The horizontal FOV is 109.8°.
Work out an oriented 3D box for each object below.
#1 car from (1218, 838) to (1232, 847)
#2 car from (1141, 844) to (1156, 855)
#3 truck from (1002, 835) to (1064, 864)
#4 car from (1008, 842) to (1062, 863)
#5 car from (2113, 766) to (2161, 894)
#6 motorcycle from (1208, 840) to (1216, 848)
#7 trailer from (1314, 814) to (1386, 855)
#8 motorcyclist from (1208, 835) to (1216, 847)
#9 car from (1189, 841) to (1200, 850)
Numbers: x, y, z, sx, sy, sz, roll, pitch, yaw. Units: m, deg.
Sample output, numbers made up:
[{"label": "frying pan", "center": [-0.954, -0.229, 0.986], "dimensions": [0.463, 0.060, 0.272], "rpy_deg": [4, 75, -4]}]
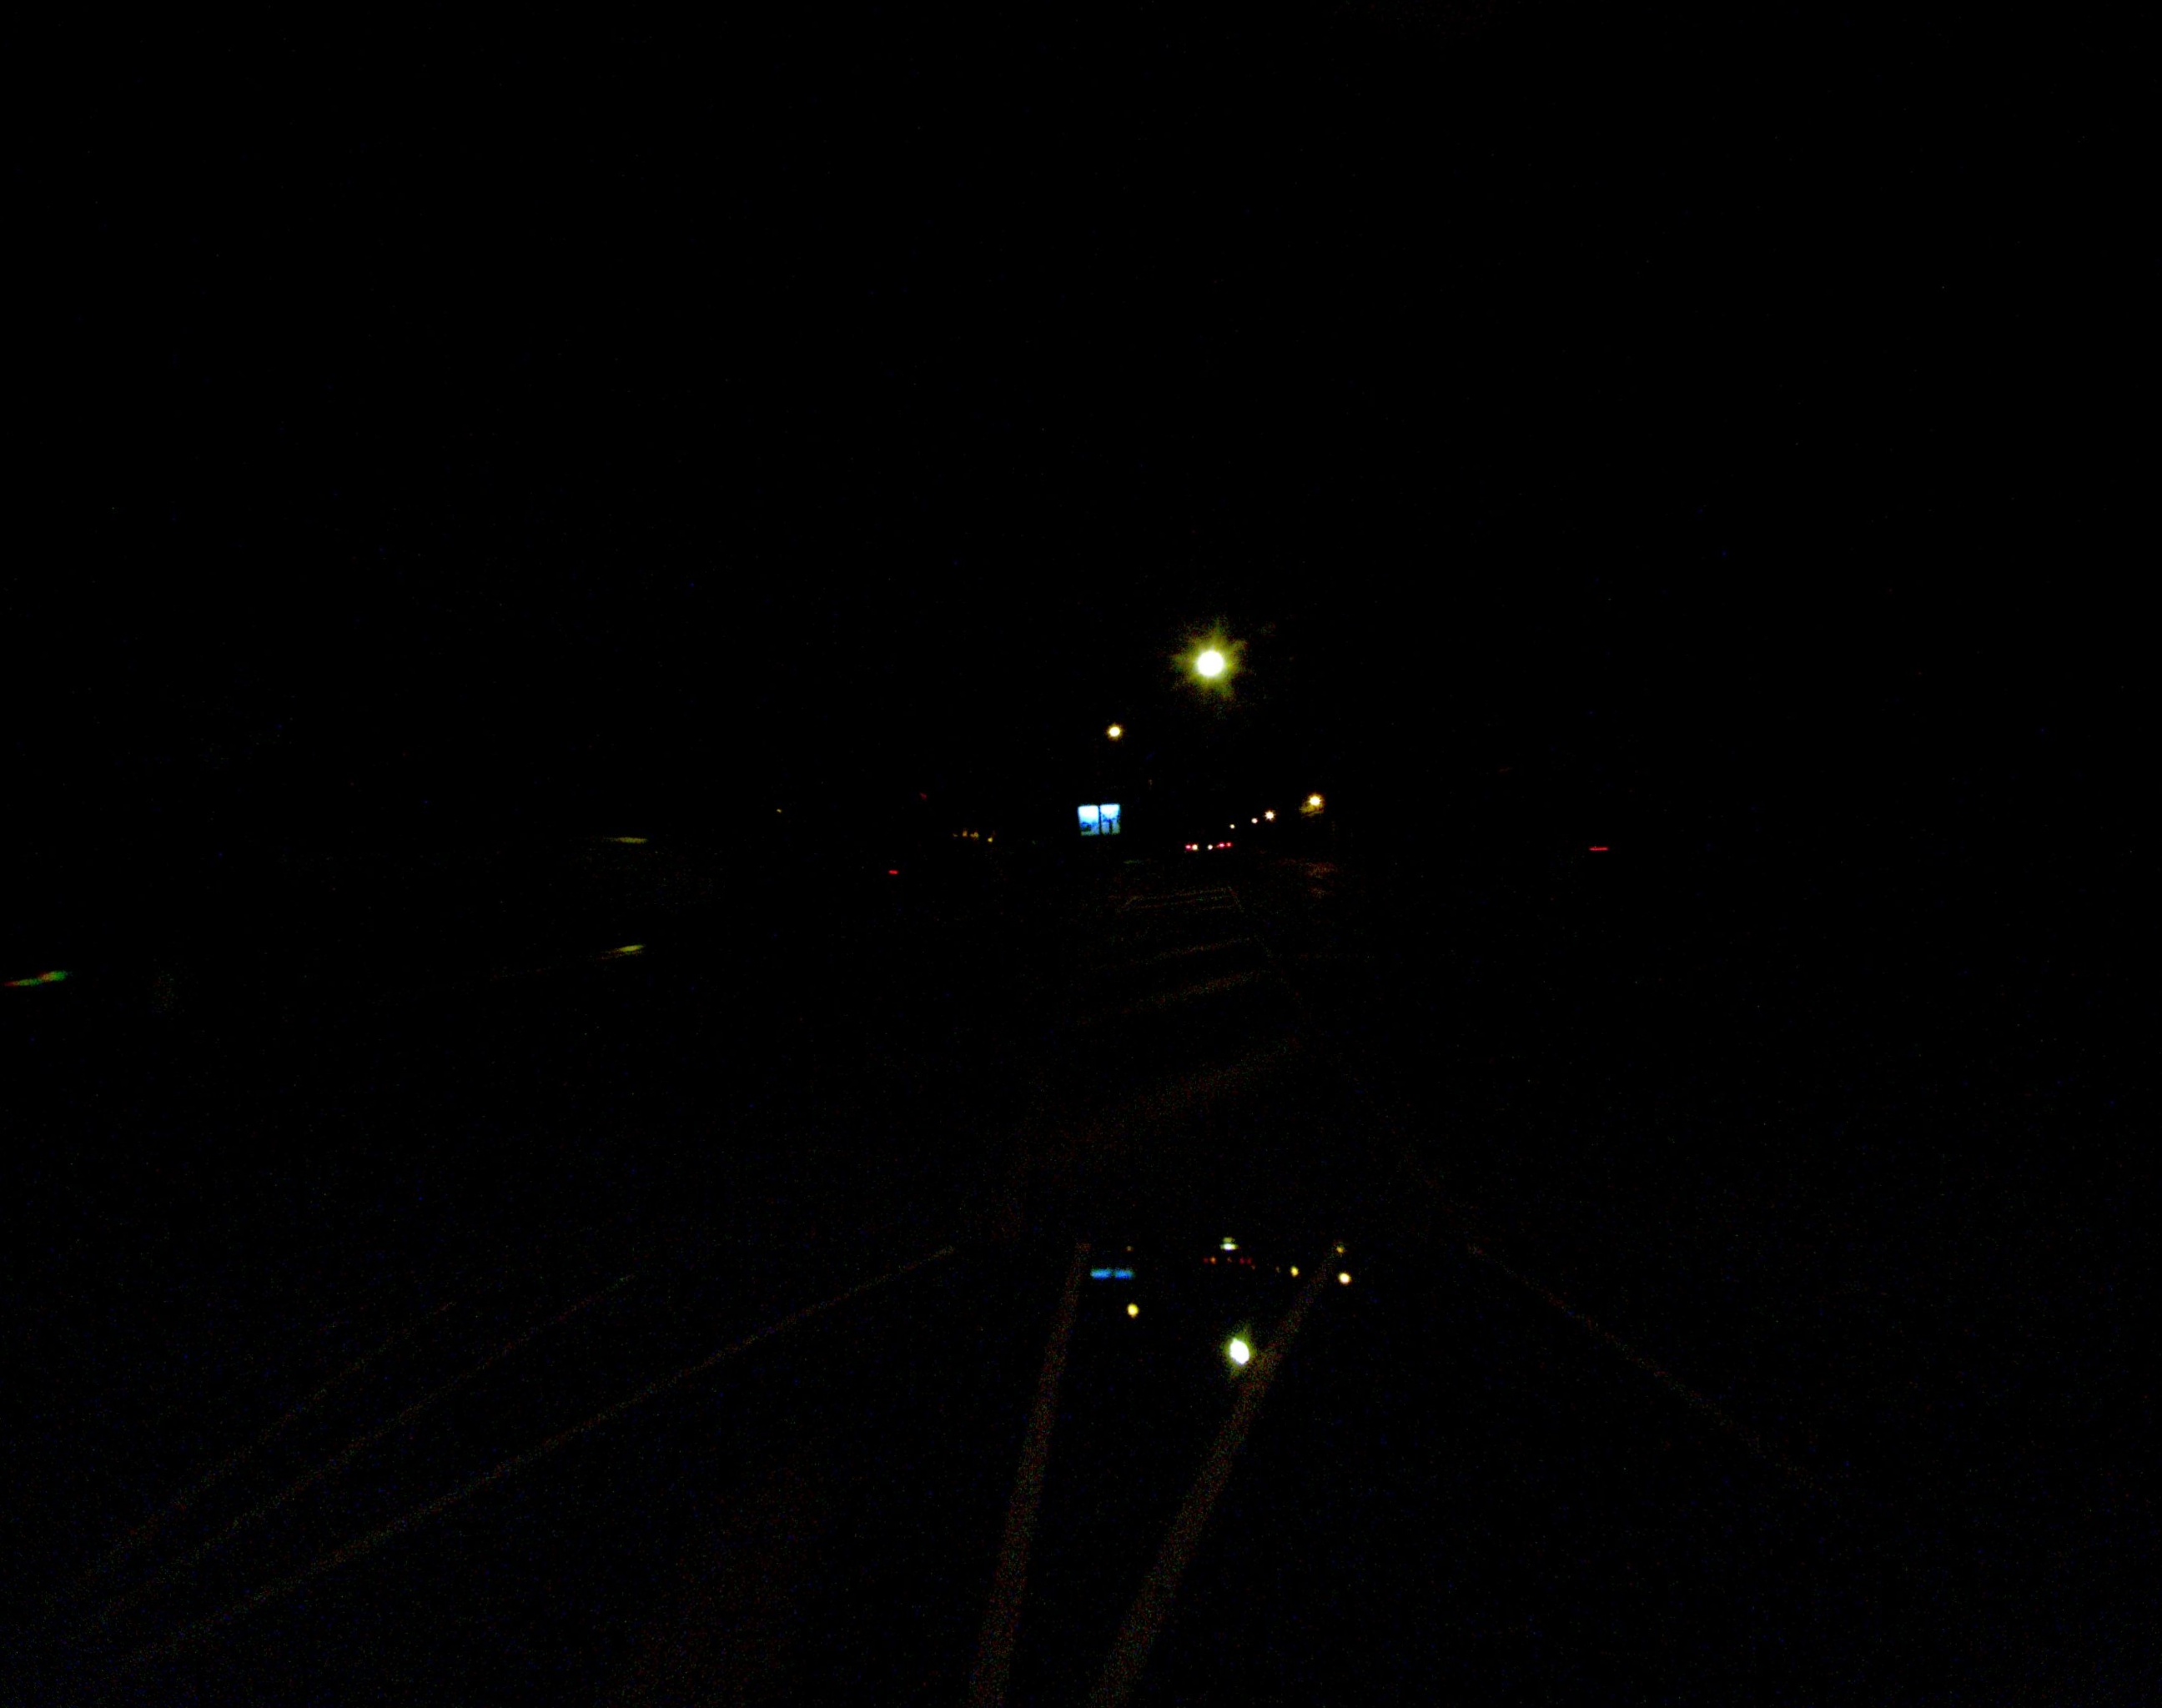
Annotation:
[{"label": "car", "center": [24.967, -1.906, 131.649], "dimensions": [1.853, 1.436, 4.917], "rpy_deg": [-3, 0, 5]}, {"label": "car", "center": [10.368, -0.650, 116.730], "dimensions": [1.939, 1.543, 4.000], "rpy_deg": [-3, 0, 1]}, {"label": "truck", "center": [-4.686, -0.472, 75.020], "dimensions": [5.541, 2.585, 2.473], "rpy_deg": [-3, 1, 8]}, {"label": "car", "center": [-4.645, -0.137, 77.570], "dimensions": [5.082, 1.826, 1.990], "rpy_deg": [-3, 1, 12]}, {"label": "car", "center": [16.968, -0.432, 9.942], "dimensions": [4.137, 1.762, 2.000], "rpy_deg": [-3, 1, 1]}, {"label": "motorcycle", "center": [21.277, -1.641, 123.338], "dimensions": [0.999, 1.297, 2.827], "rpy_deg": [-3, 1, 3]}, {"label": "trailer", "center": [18.528, -1.329, 52.583], "dimensions": [4.356, 2.704, 2.001], "rpy_deg": [-1, 1, 9]}, {"label": "motorcyclist", "center": [21.269, -2.040, 123.284], "dimensions": [1.136, 1.889, 0.833], "rpy_deg": [-3, 1, 3]}, {"label": "car", "center": [21.753, -1.694, 145.241], "dimensions": [1.997, 1.617, 4.754], "rpy_deg": [-3, 1, 9]}]
